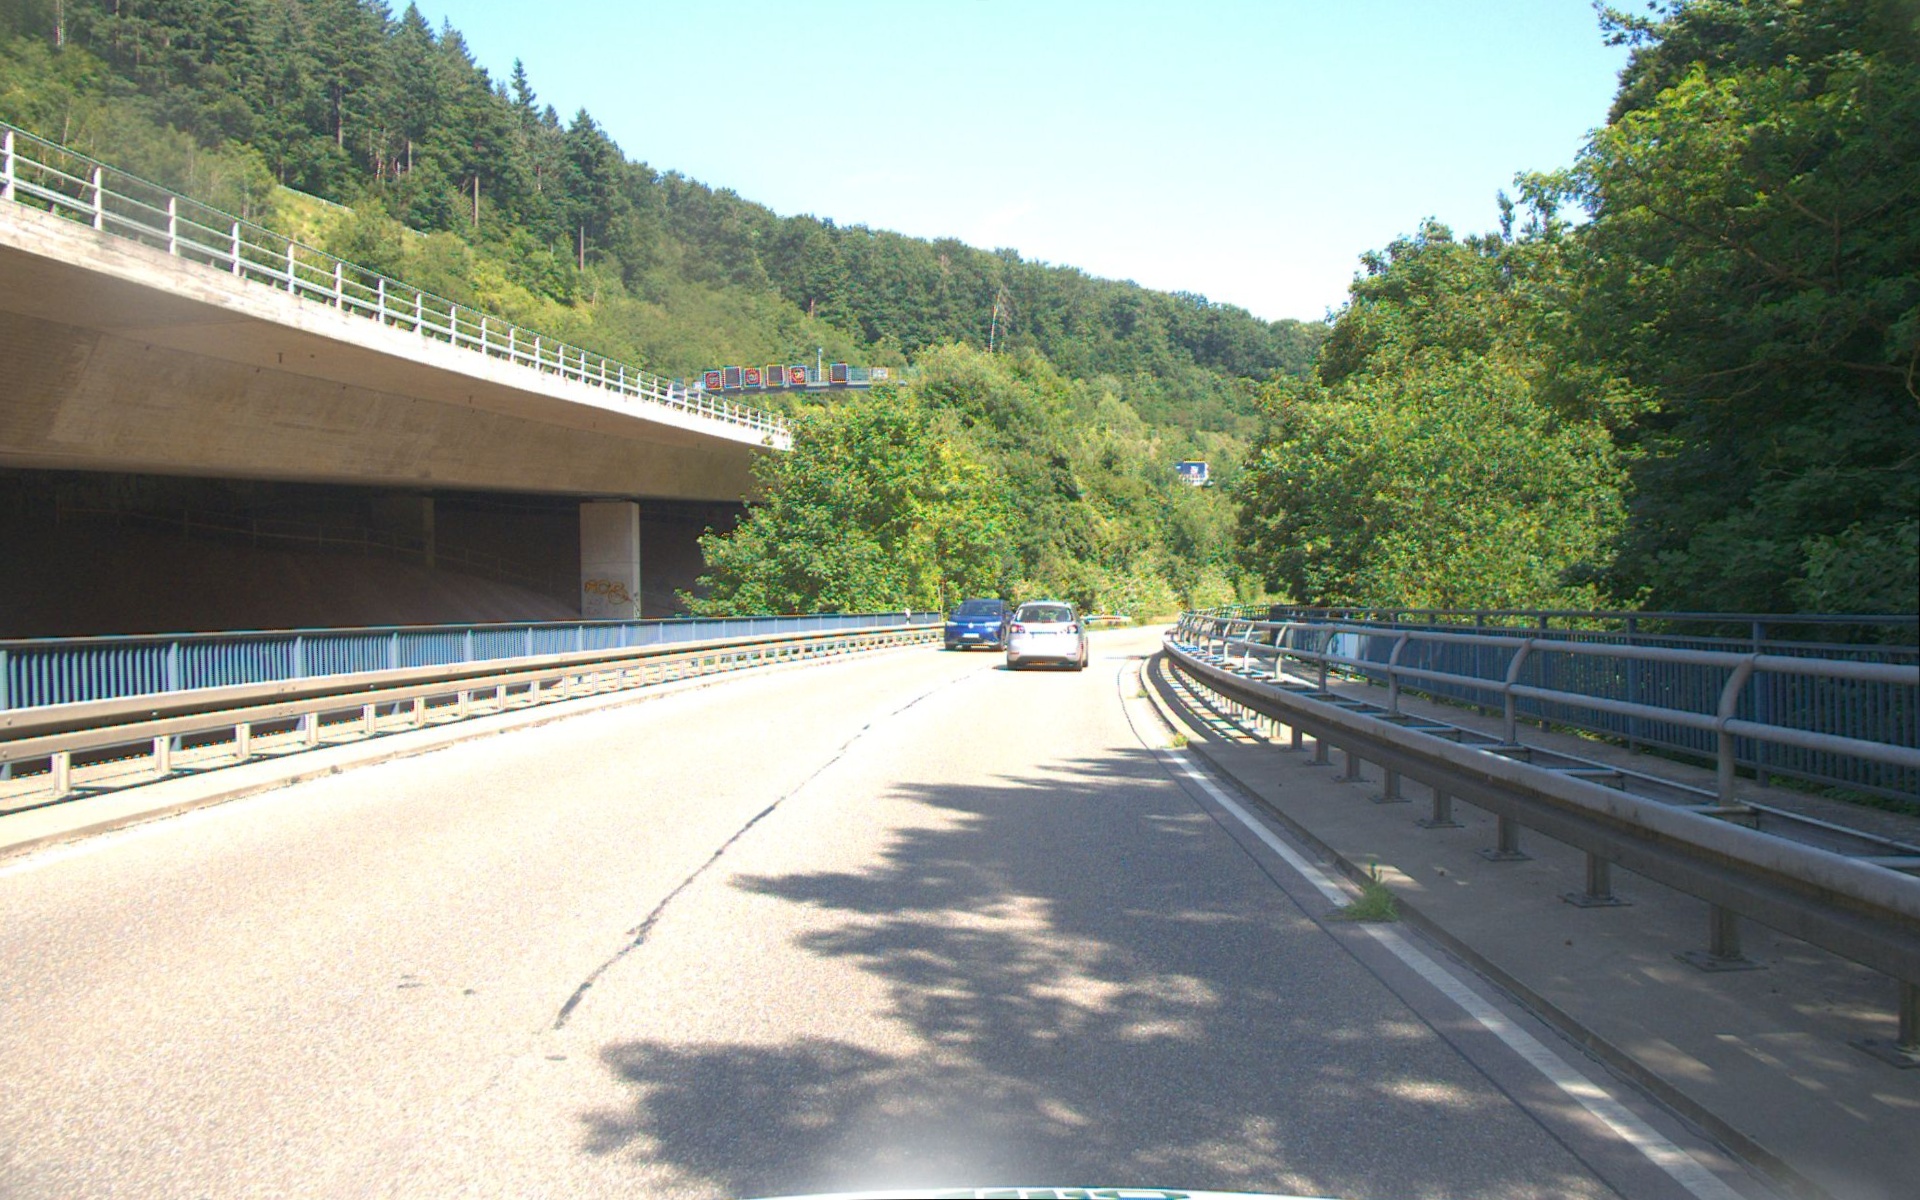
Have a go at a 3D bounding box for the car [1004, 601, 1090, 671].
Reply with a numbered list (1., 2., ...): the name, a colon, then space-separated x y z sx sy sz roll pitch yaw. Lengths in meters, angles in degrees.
1. car: 2.077 0.817 38.526 1.714 1.546 4.162 0 -1 7

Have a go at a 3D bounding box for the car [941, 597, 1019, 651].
1. car: 0.678 0.732 52.243 1.858 1.608 4.558 0 0 8
